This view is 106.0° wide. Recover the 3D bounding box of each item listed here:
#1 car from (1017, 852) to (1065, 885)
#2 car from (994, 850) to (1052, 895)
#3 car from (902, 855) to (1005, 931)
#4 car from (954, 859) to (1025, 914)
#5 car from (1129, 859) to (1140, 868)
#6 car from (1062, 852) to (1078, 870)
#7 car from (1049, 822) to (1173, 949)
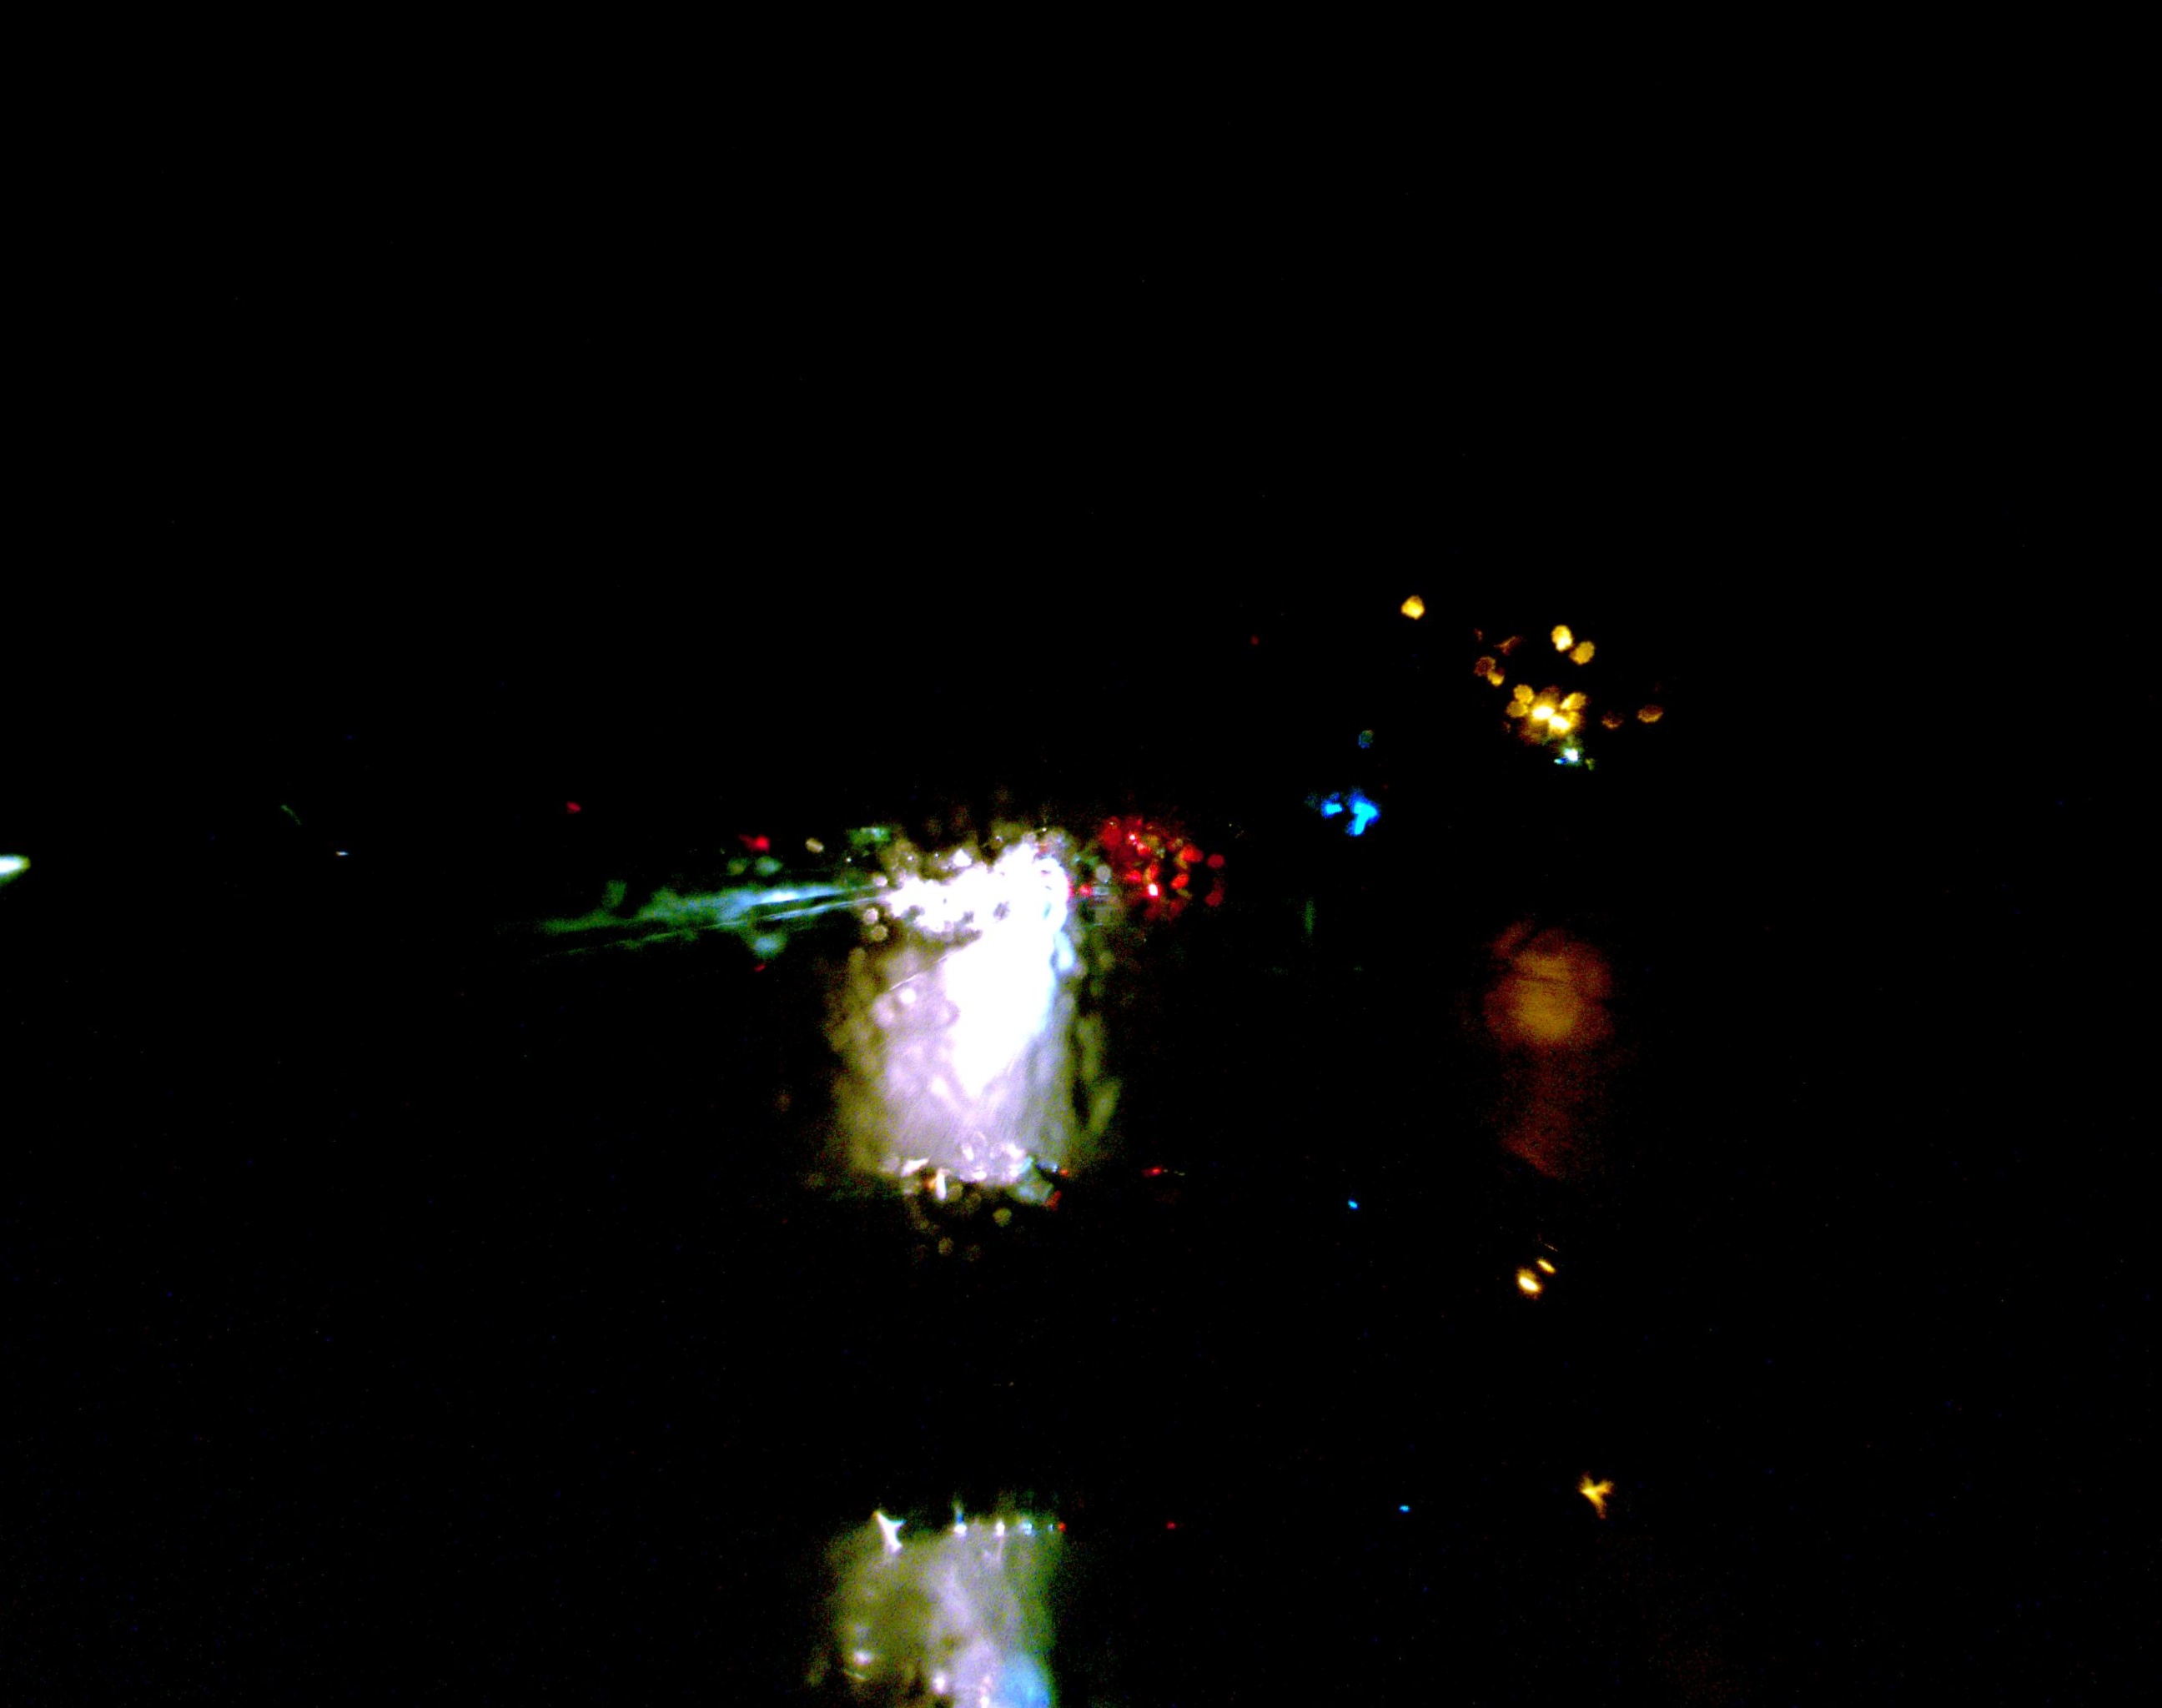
[{"bbox_3d":[-1.953,0.685,40.898,1.835,1.575,4.602,0,0,4],"label":"car"},{"bbox_3d":[-2.226,0.687,32.310,1.837,1.668,4.447,0,0,2],"label":"car"},{"bbox_3d":[-2.663,0.765,17.751,1.663,1.473,3.633,0,0,0],"label":"car"},{"bbox_3d":[-2.624,0.905,24.183,1.616,1.473,3.885,0,0,1],"label":"car"},{"bbox_3d":[9.468,1.648,143.440,1.654,1.450,4.059,-1,-1,8],"label":"car"},{"bbox_3d":[-1.733,1.039,126.755,2.114,2.708,6.245,0,0,3],"label":"car"},{"bbox_3d":[0.511,0.501,14.748,1.935,1.972,4.219,0,0,1],"label":"car"}]
